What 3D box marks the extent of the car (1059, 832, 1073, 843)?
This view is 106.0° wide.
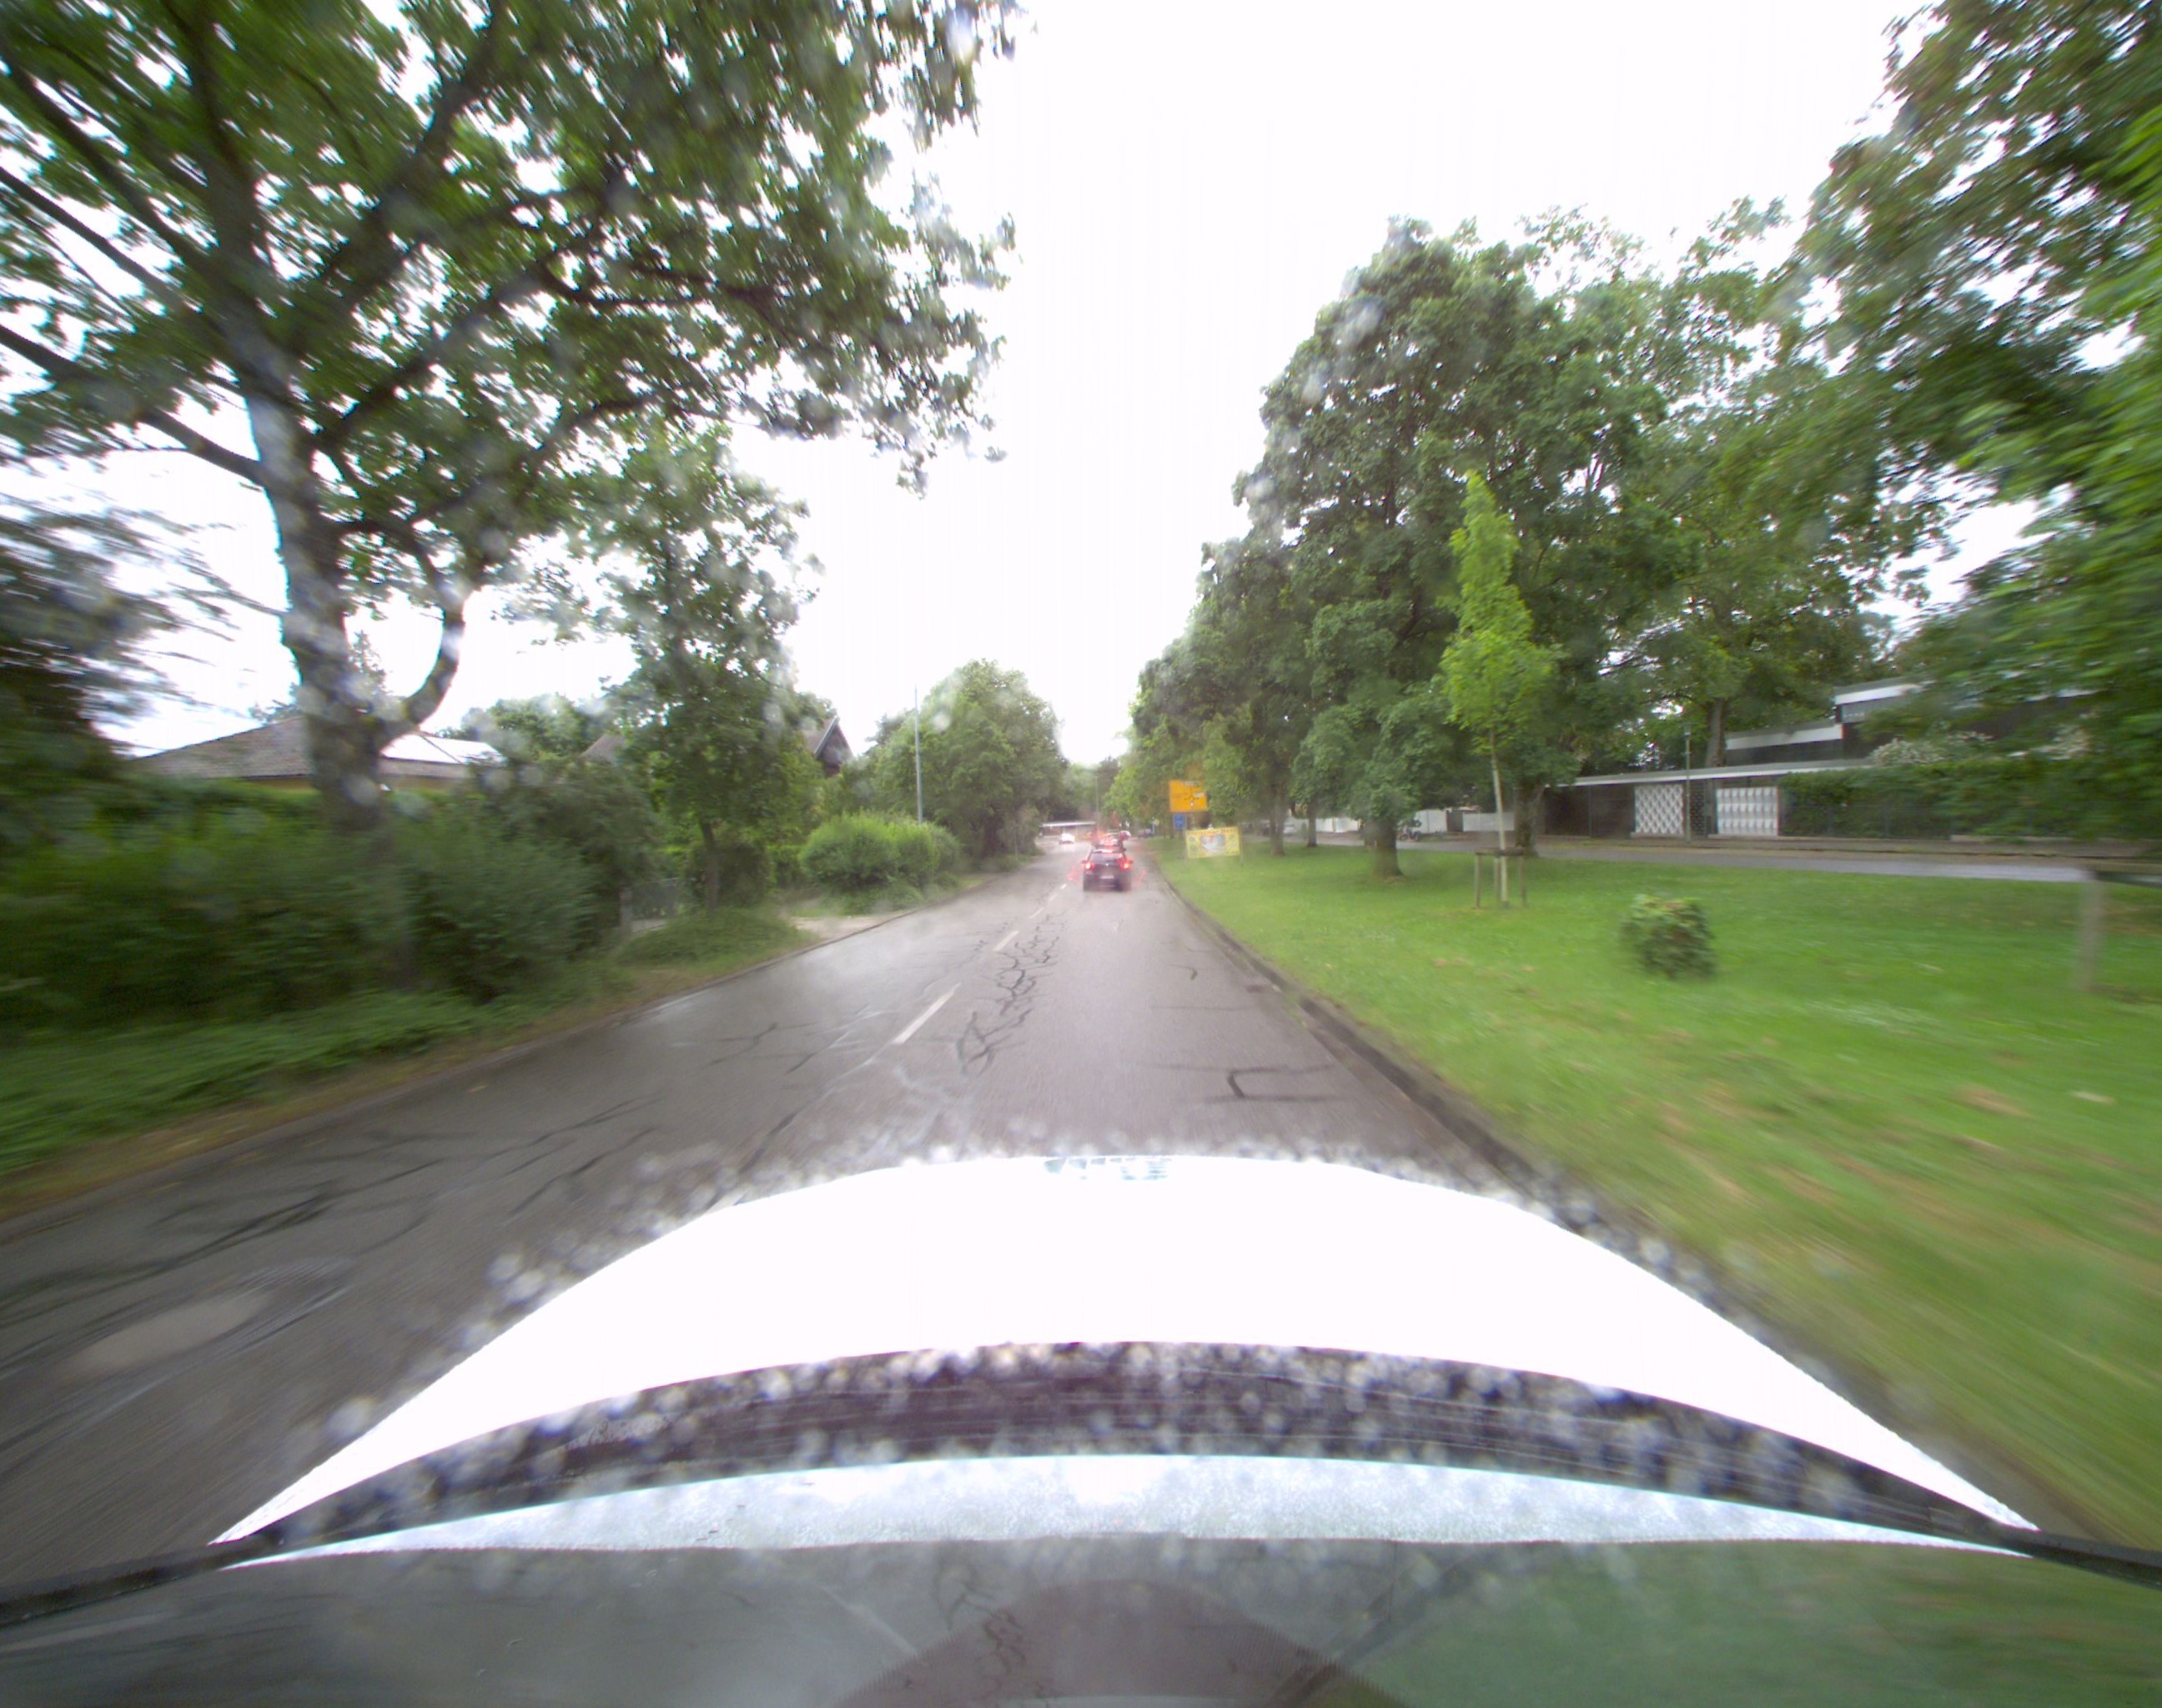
[{"bbox_3d":[-2.366,-2.608,130.916,1.762,1.614,4.132,-4,2,-7],"label":"car"}]

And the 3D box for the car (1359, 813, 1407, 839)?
[{"bbox_3d":[23.586,-2.202,63.756,1.935,1.808,4.649,-5,2,0],"label":"car"}]

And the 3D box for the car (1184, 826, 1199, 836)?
[{"bbox_3d":[16.730,-3.469,123.429,1.796,1.385,4.003,-5,2,2],"label":"car"}]

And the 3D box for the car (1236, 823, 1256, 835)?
[{"bbox_3d":[22.237,-3.381,110.193,1.796,1.411,4.113,-4,3,0],"label":"car"}]

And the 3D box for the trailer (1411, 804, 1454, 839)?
[{"bbox_3d":[23.497,-2.167,54.569,1.433,2.154,2.947,-3,0,-3],"label":"trailer"}]

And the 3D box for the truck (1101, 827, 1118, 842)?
[{"bbox_3d":[4.109,-2.774,118.122,2.408,2.004,5.152,-3,1,1],"label":"truck"}]

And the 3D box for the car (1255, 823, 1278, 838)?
[{"bbox_3d":[22.341,-2.857,98.200,1.796,1.529,4.113,-4,3,0],"label":"car"}]

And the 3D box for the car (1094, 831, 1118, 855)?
[{"bbox_3d":[2.083,-0.928,67.241,1.848,1.784,4.003,-3,1,3],"label":"car"}]

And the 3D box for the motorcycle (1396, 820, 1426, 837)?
[{"bbox_3d":[23.075,-1.755,56.959,1.869,1.092,0.662,-2,3,22],"label":"motorcycle"}]

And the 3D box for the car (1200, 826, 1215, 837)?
[{"bbox_3d":[19.098,-3.462,123.266,1.796,1.406,4.003,-5,2,2],"label":"car"}]

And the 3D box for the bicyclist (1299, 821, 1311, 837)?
[{"bbox_3d":[18.932,-2.107,68.809,0.741,1.390,1.000,-2,1,2],"label":"bicyclist"}]

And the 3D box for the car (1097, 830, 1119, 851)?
[{"bbox_3d":[2.513,-1.252,73.802,1.848,1.784,4.003,-3,1,3],"label":"car"}]

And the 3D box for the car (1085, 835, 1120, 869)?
[{"bbox_3d":[1.279,-0.145,47.157,1.848,1.784,4.003,-3,1,3],"label":"car"}]

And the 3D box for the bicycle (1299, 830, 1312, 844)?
[{"bbox_3d":[18.959,-1.471,68.798,0.593,1.138,1.865,-2,1,3],"label":"bicycle"}]

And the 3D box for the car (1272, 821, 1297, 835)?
[{"bbox_3d":[22.625,-2.931,90.614,1.612,1.409,4.007,-4,3,-3],"label":"car"}]

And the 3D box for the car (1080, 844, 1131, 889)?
[{"bbox_3d":[0.944,0.422,30.269,1.791,1.515,3.757,0,1,3],"label":"car"}]
